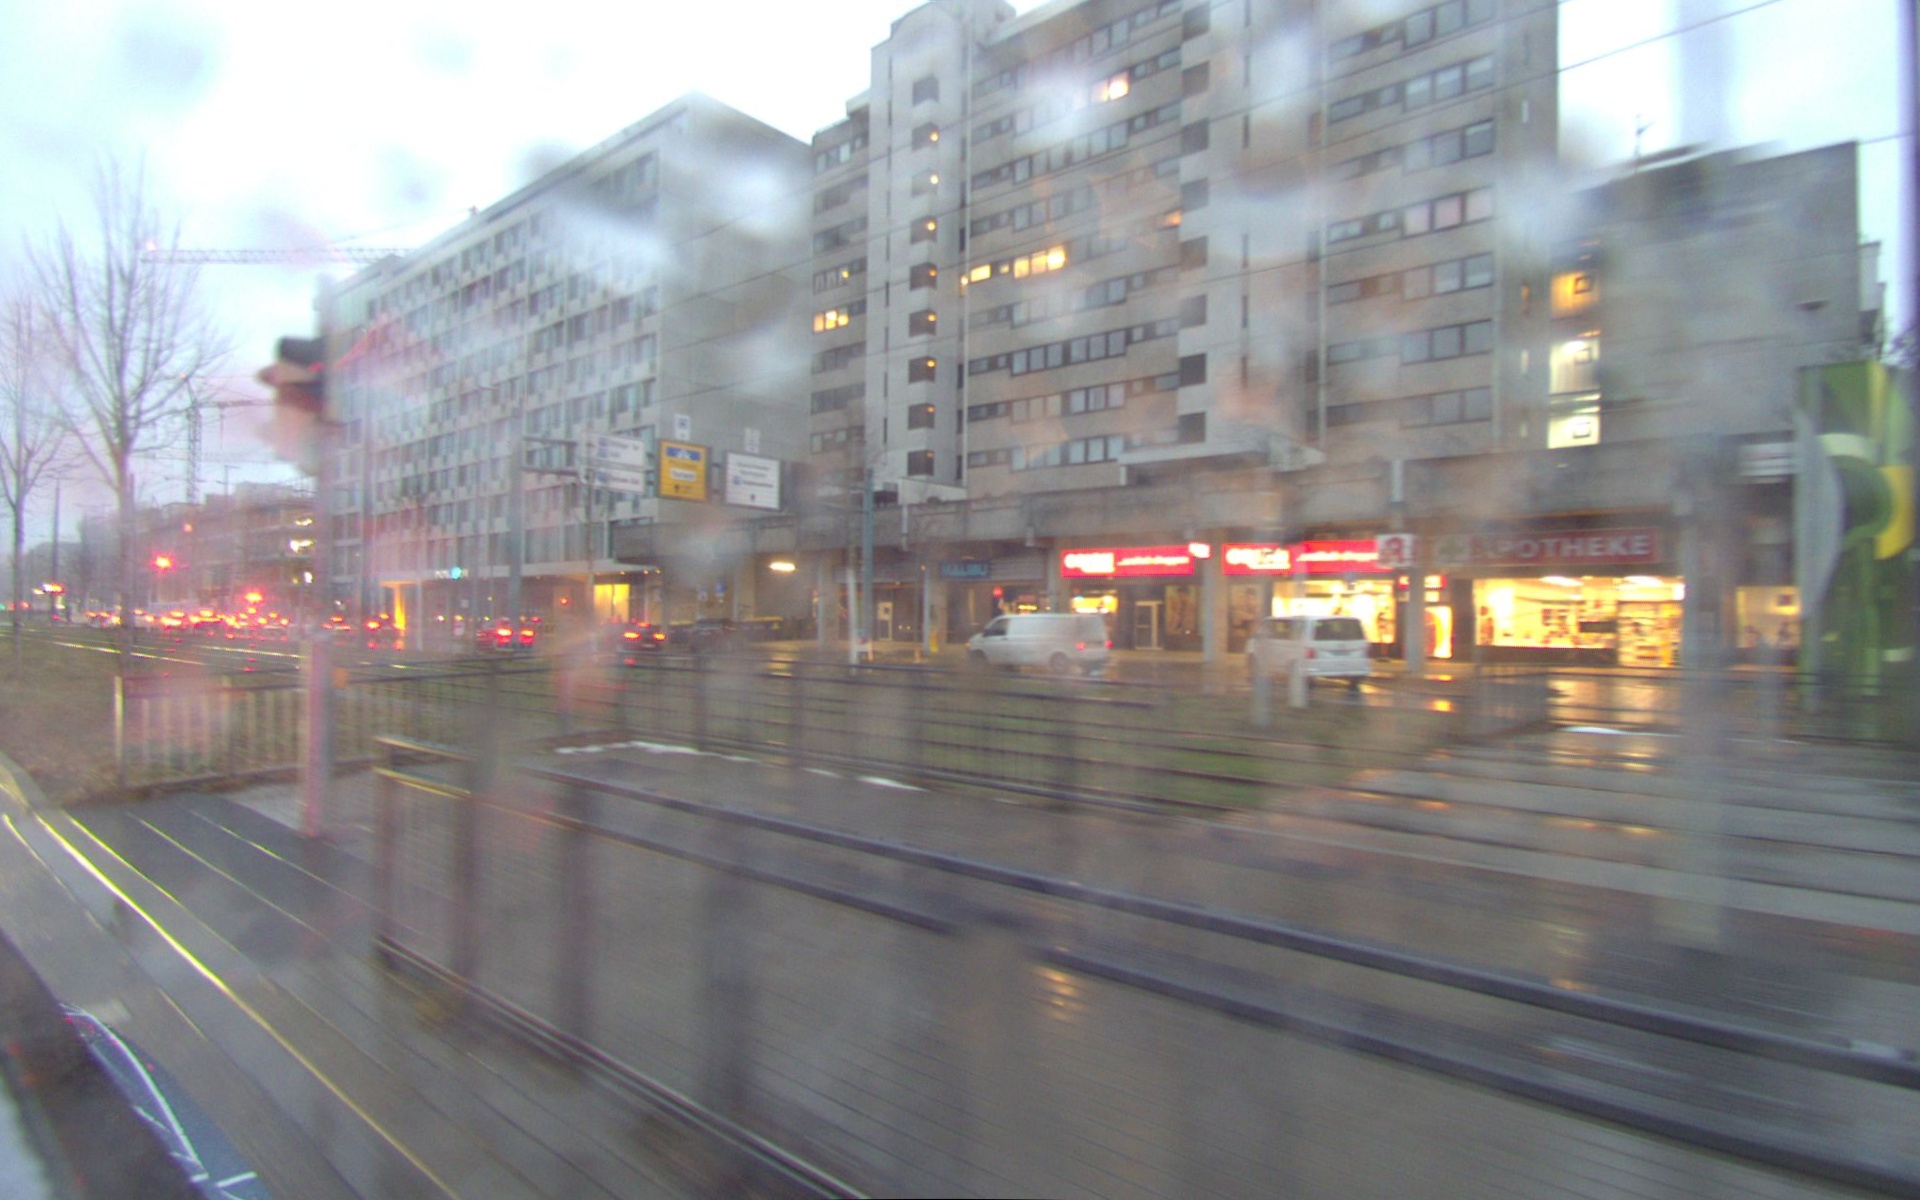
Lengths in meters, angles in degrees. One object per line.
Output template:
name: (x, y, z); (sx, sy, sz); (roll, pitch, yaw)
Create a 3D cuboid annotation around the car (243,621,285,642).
car: (-51.488, 2.288, 74.823); (3.870, 1.460, 1.576); (0, -1, 40)

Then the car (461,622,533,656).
car: (-22.819, 1.889, 49.851); (3.887, 1.523, 1.732); (0, -1, 40)

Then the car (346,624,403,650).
car: (-34.815, 2.192, 60.164); (3.870, 1.460, 1.732); (0, -1, 40)

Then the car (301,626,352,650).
car: (-41.306, 2.447, 65.953); (3.870, 1.460, 1.732); (0, -1, 40)

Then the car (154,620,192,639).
car: (-62.372, 2.313, 80.205); (3.870, 1.460, 1.576); (0, -1, 40)

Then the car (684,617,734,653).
car: (-11.848, 1.630, 47.987); (1.656, 1.630, 3.781); (0, -1, -4)

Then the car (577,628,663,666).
car: (-14.098, 1.915, 41.859); (3.764, 1.460, 1.656); (0, -1, 40)

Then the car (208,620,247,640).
car: (-57.279, 2.355, 79.148); (3.870, 1.460, 1.576); (0, -1, 40)

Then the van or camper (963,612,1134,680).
van or camper: (2.862, 1.478, 33.936); (5.651, 2.113, 1.973); (-1, -2, 41)

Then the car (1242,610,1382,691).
car: (9.971, 1.360, 29.088); (1.969, 2.029, 4.580); (0, 1, -7)

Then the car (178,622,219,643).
car: (-56.402, 2.373, 74.936); (3.870, 1.460, 1.576); (0, -1, 40)
